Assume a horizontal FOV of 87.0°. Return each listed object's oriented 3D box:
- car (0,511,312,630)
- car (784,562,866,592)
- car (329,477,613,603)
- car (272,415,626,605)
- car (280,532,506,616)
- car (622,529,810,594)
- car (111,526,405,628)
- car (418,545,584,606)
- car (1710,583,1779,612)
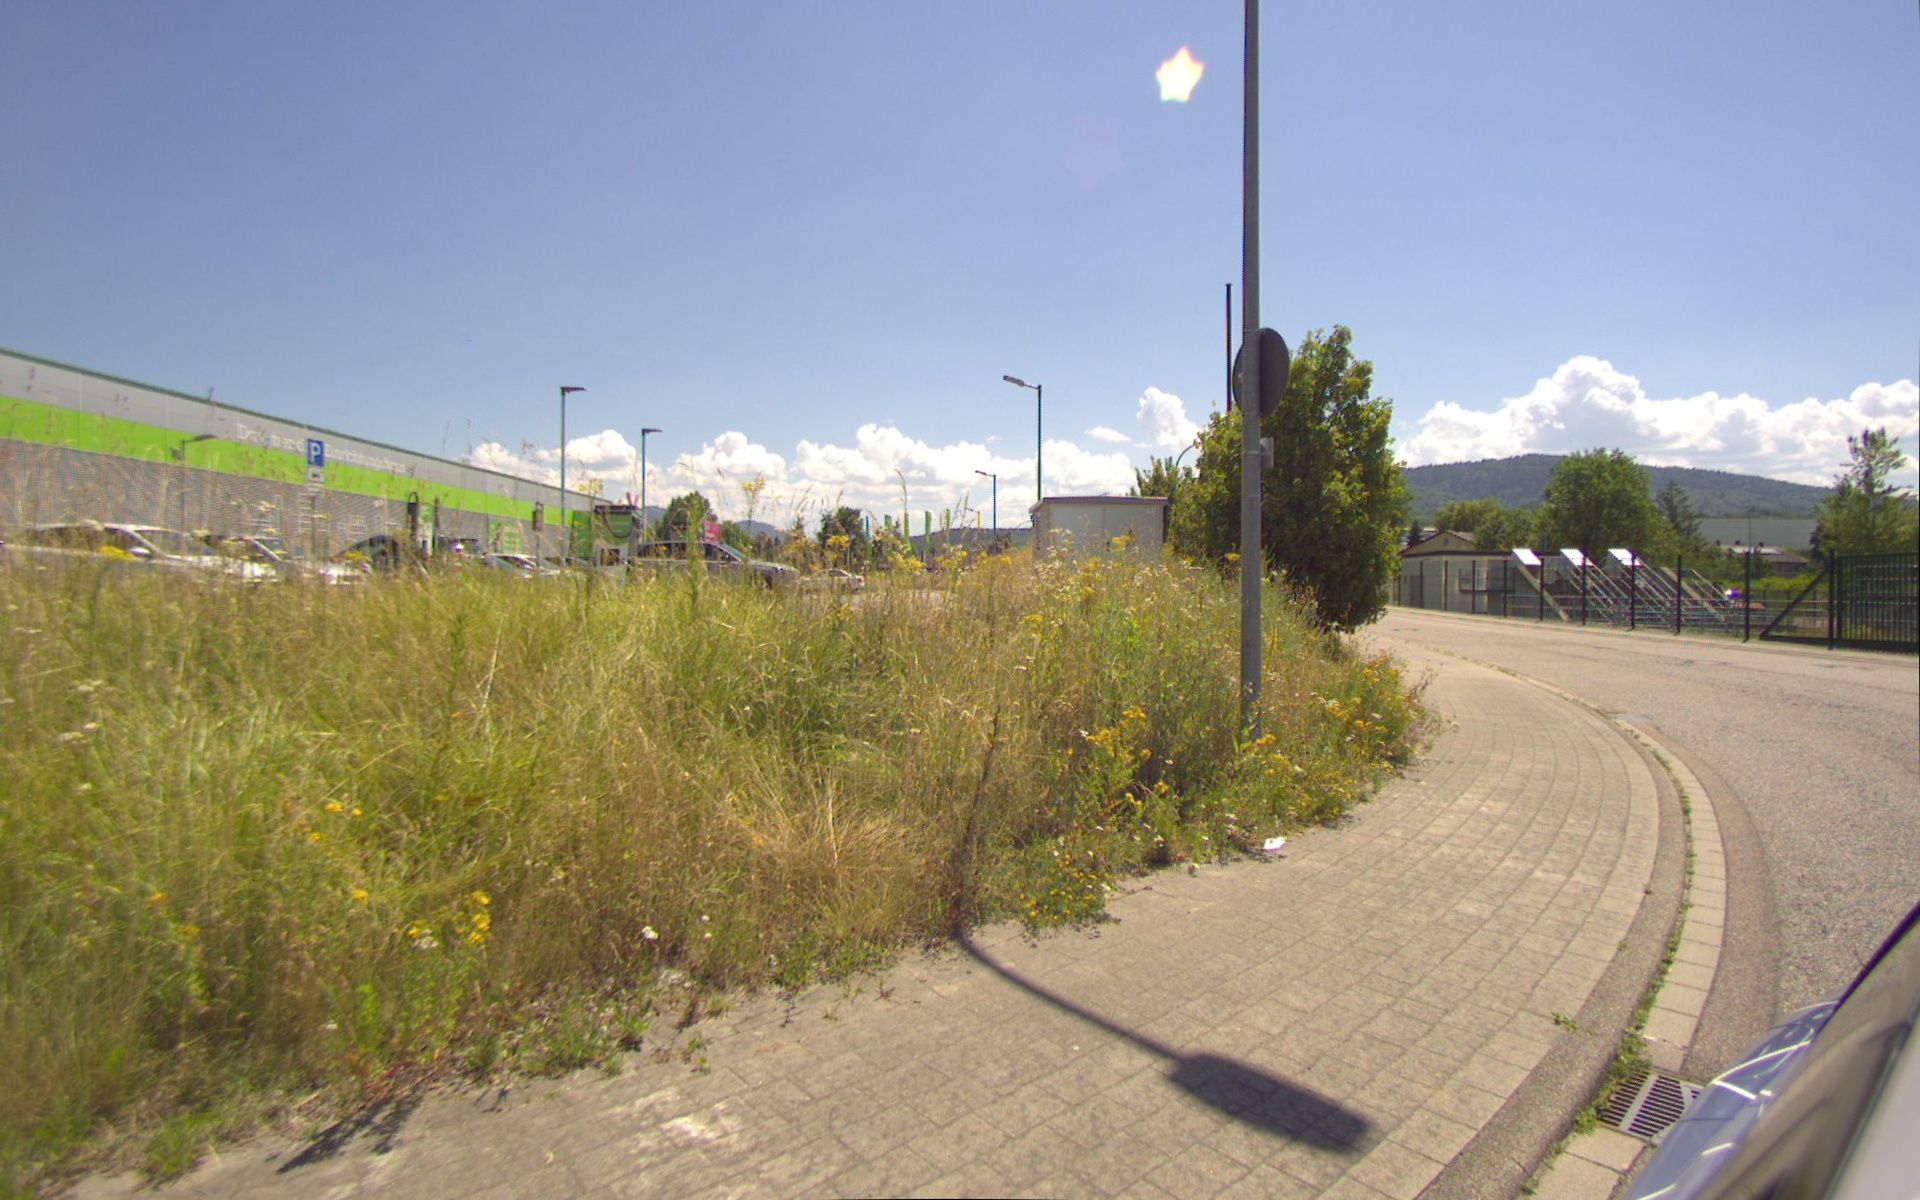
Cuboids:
[{"bbox_3d":[-13.535,-0.484,16.757,4.315,1.808,1.955,-1,1,-2],"label":"car"},{"bbox_3d":[-7.471,-1.295,56.344,4.317,1.555,2.001,2,1,0],"label":"car"},{"bbox_3d":[-8.954,-1.084,18.844,4.315,2.171,1.955,-1,1,-2],"label":"car"},{"bbox_3d":[-8.030,-1.363,16.191,4.665,2.777,1.999,-1,1,4],"label":"car"},{"bbox_3d":[-13.571,-0.619,24.424,4.317,1.890,2.001,-1,1,0],"label":"car"},{"bbox_3d":[-6.668,-1.050,27.971,4.665,1.686,1.999,-1,1,4],"label":"car"},{"bbox_3d":[-13.414,-0.446,19.544,4.317,1.808,1.939,-1,1,0],"label":"car"},{"bbox_3d":[-14.409,-0.788,31.961,4.317,1.808,2.001,-1,1,0],"label":"car"},{"bbox_3d":[46.245,-0.202,59.745,1.775,1.638,3.981,0,1,15],"label":"car"}]
